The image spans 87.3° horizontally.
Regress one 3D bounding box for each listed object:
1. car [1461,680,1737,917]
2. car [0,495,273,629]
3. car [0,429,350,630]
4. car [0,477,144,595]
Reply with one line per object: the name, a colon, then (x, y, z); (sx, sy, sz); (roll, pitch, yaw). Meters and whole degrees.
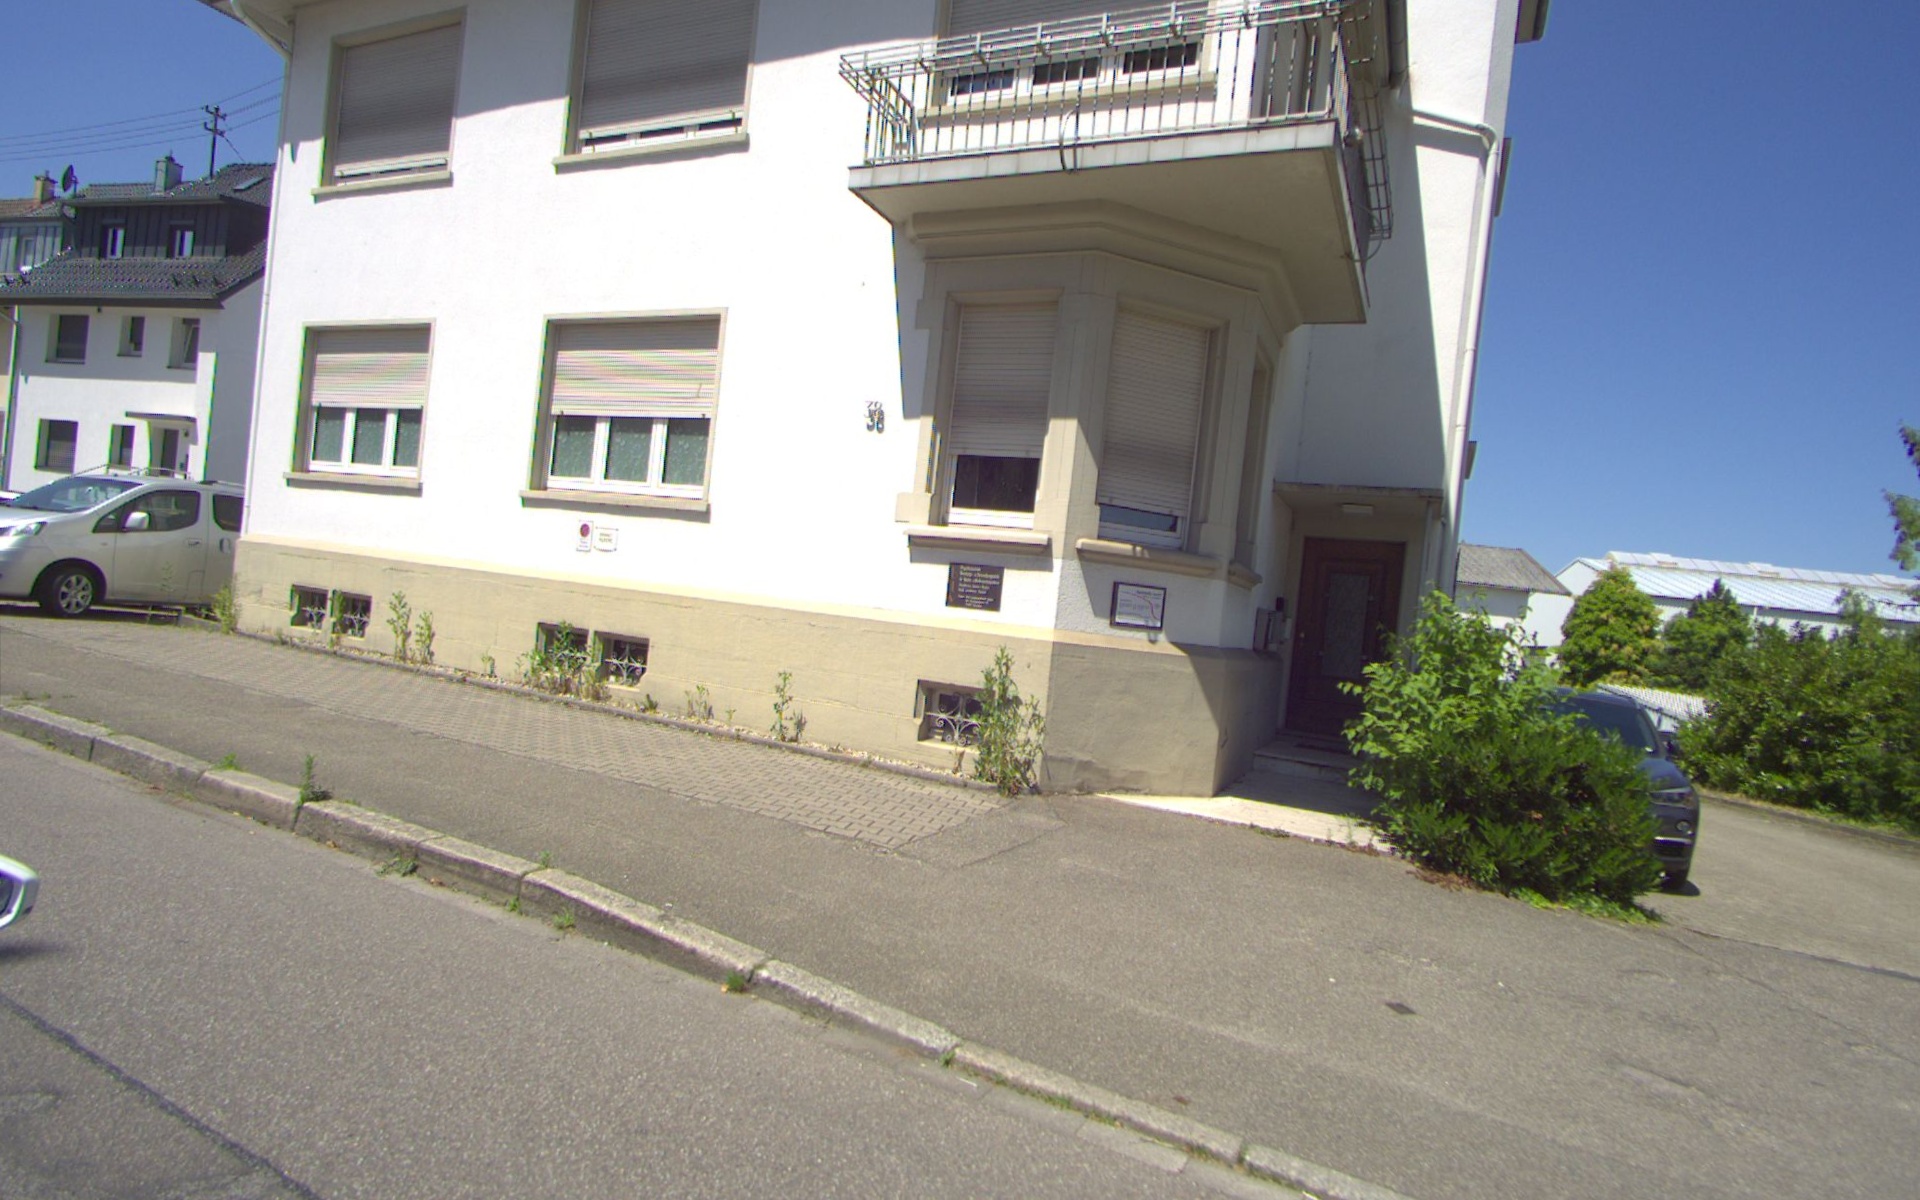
car: (6.061, 1.775, 9.986); (1.766, 1.610, 3.999); (6, -3, 28)
car: (-12.725, -0.611, 14.195); (1.738, 1.424, 4.658); (7, -4, 26)
car: (-10.541, -0.799, 13.018); (1.706, 1.850, 4.312); (7, -3, 17)
car: (-15.431, -1.165, 15.386); (4.265, 1.564, 1.742); (9, -4, -33)
